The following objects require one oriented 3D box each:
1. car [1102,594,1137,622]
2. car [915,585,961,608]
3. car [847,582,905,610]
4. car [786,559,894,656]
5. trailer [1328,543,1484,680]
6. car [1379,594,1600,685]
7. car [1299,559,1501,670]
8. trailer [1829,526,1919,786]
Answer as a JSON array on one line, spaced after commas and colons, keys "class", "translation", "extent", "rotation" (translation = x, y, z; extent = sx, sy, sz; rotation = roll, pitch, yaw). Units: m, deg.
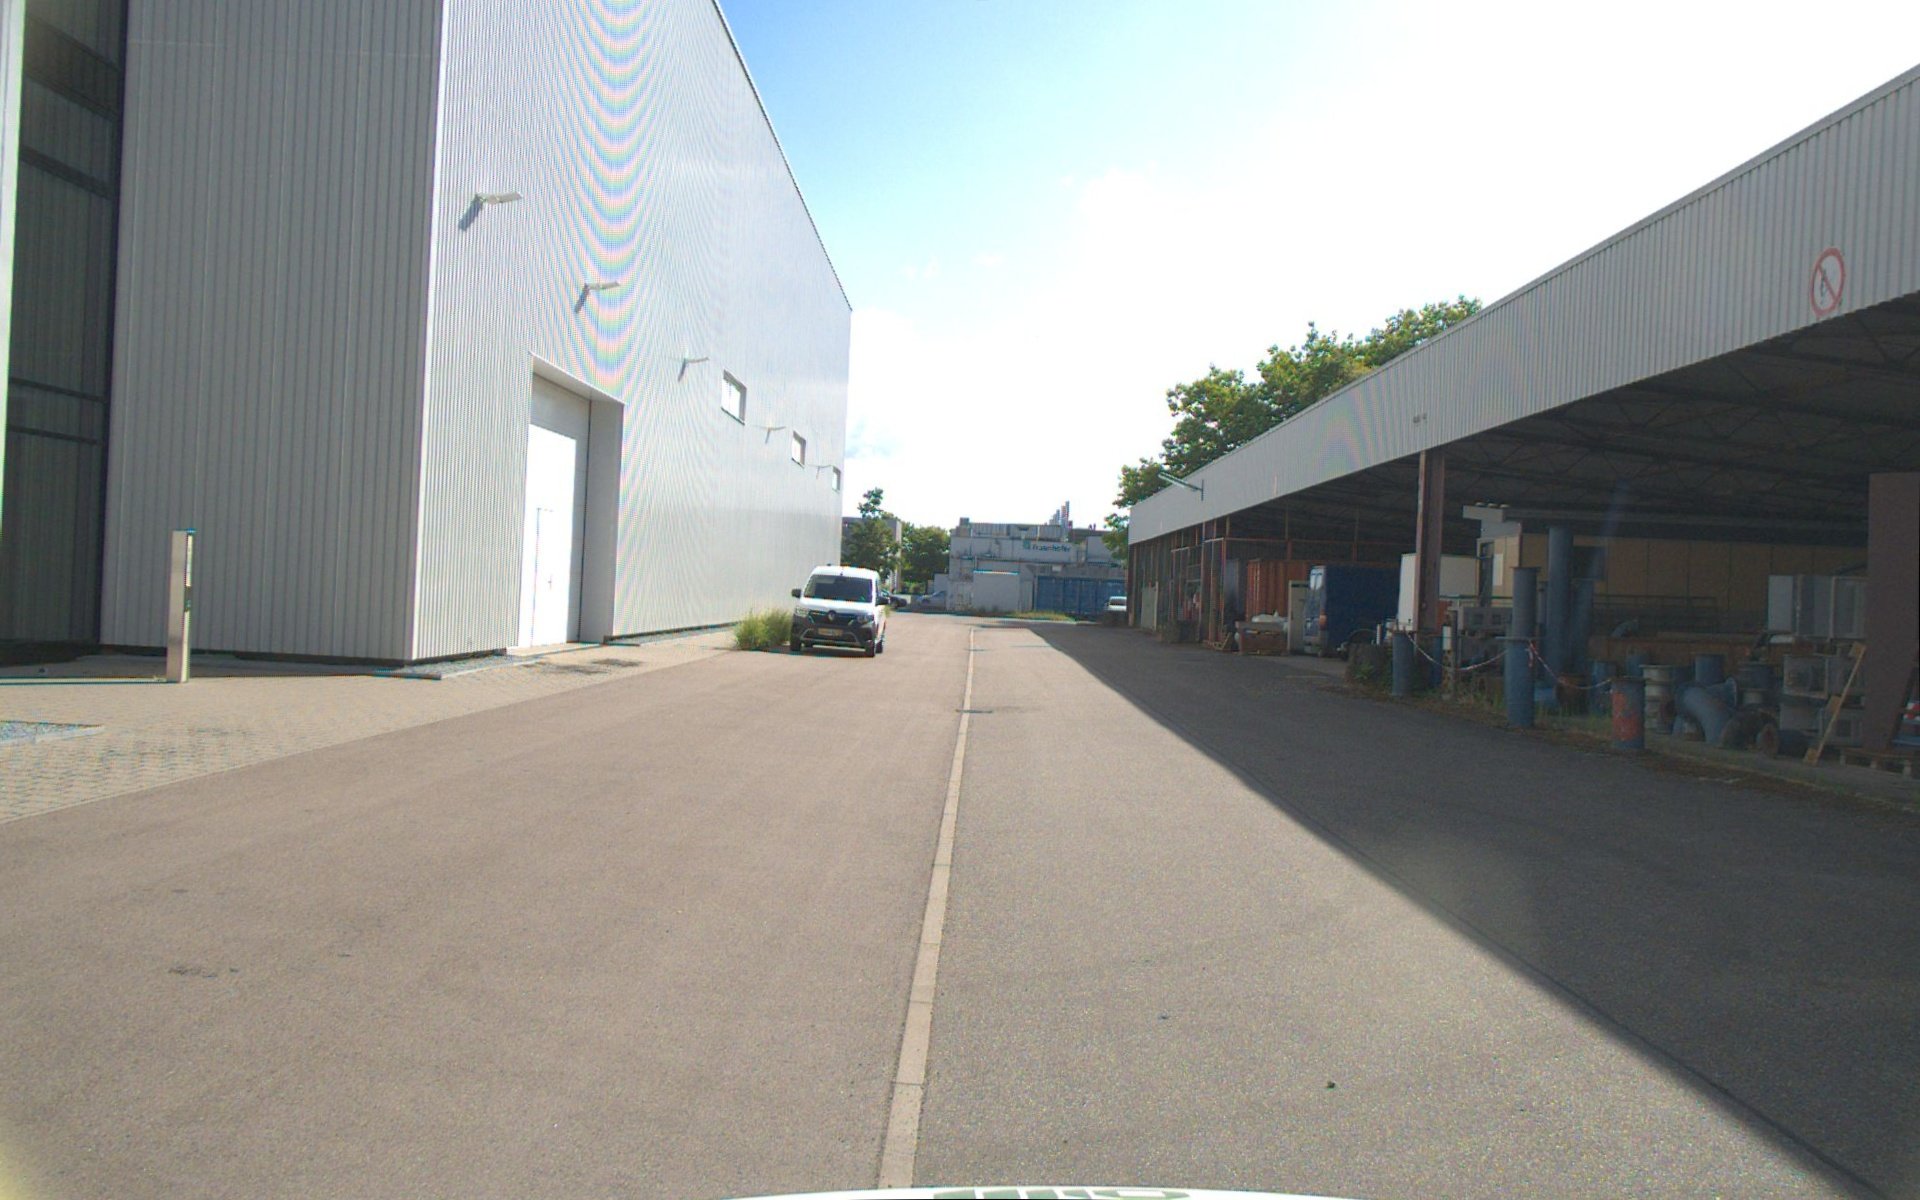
[{"class": "car", "translation": [10.084, 0.483, 105.042], "extent": [1.922, 1.591, 4.060], "rotation": [4, 1, 2]}, {"class": "car", "translation": [-1.942, -0.291, 145.426], "extent": [3.906, 1.626, 1.848], "rotation": [4, -2, -1]}, {"class": "car", "translation": [-5.951, -0.257, 117.570], "extent": [3.906, 1.626, 1.741], "rotation": [4, -2, -1]}, {"class": "car", "translation": [-2.496, 0.131, 35.320], "extent": [1.781, 1.818, 4.406], "rotation": [4, 1, 1]}, {"class": "trailer", "translation": [8.528, 0.219, 31.785], "extent": [2.471, 2.440, 1.727], "rotation": [3, -1, 1]}, {"class": "car", "translation": [10.838, 0.813, 34.035], "extent": [3.955, 1.551, 1.684], "rotation": [4, -2, 1]}, {"class": "car", "translation": [10.735, 0.380, 40.557], "extent": [4.342, 2.350, 1.915], "rotation": [4, -2, 1]}, {"class": "trailer", "translation": [10.500, 0.542, 13.512], "extent": [5.647, 2.067, 2.078], "rotation": [2, 0, 1]}]
